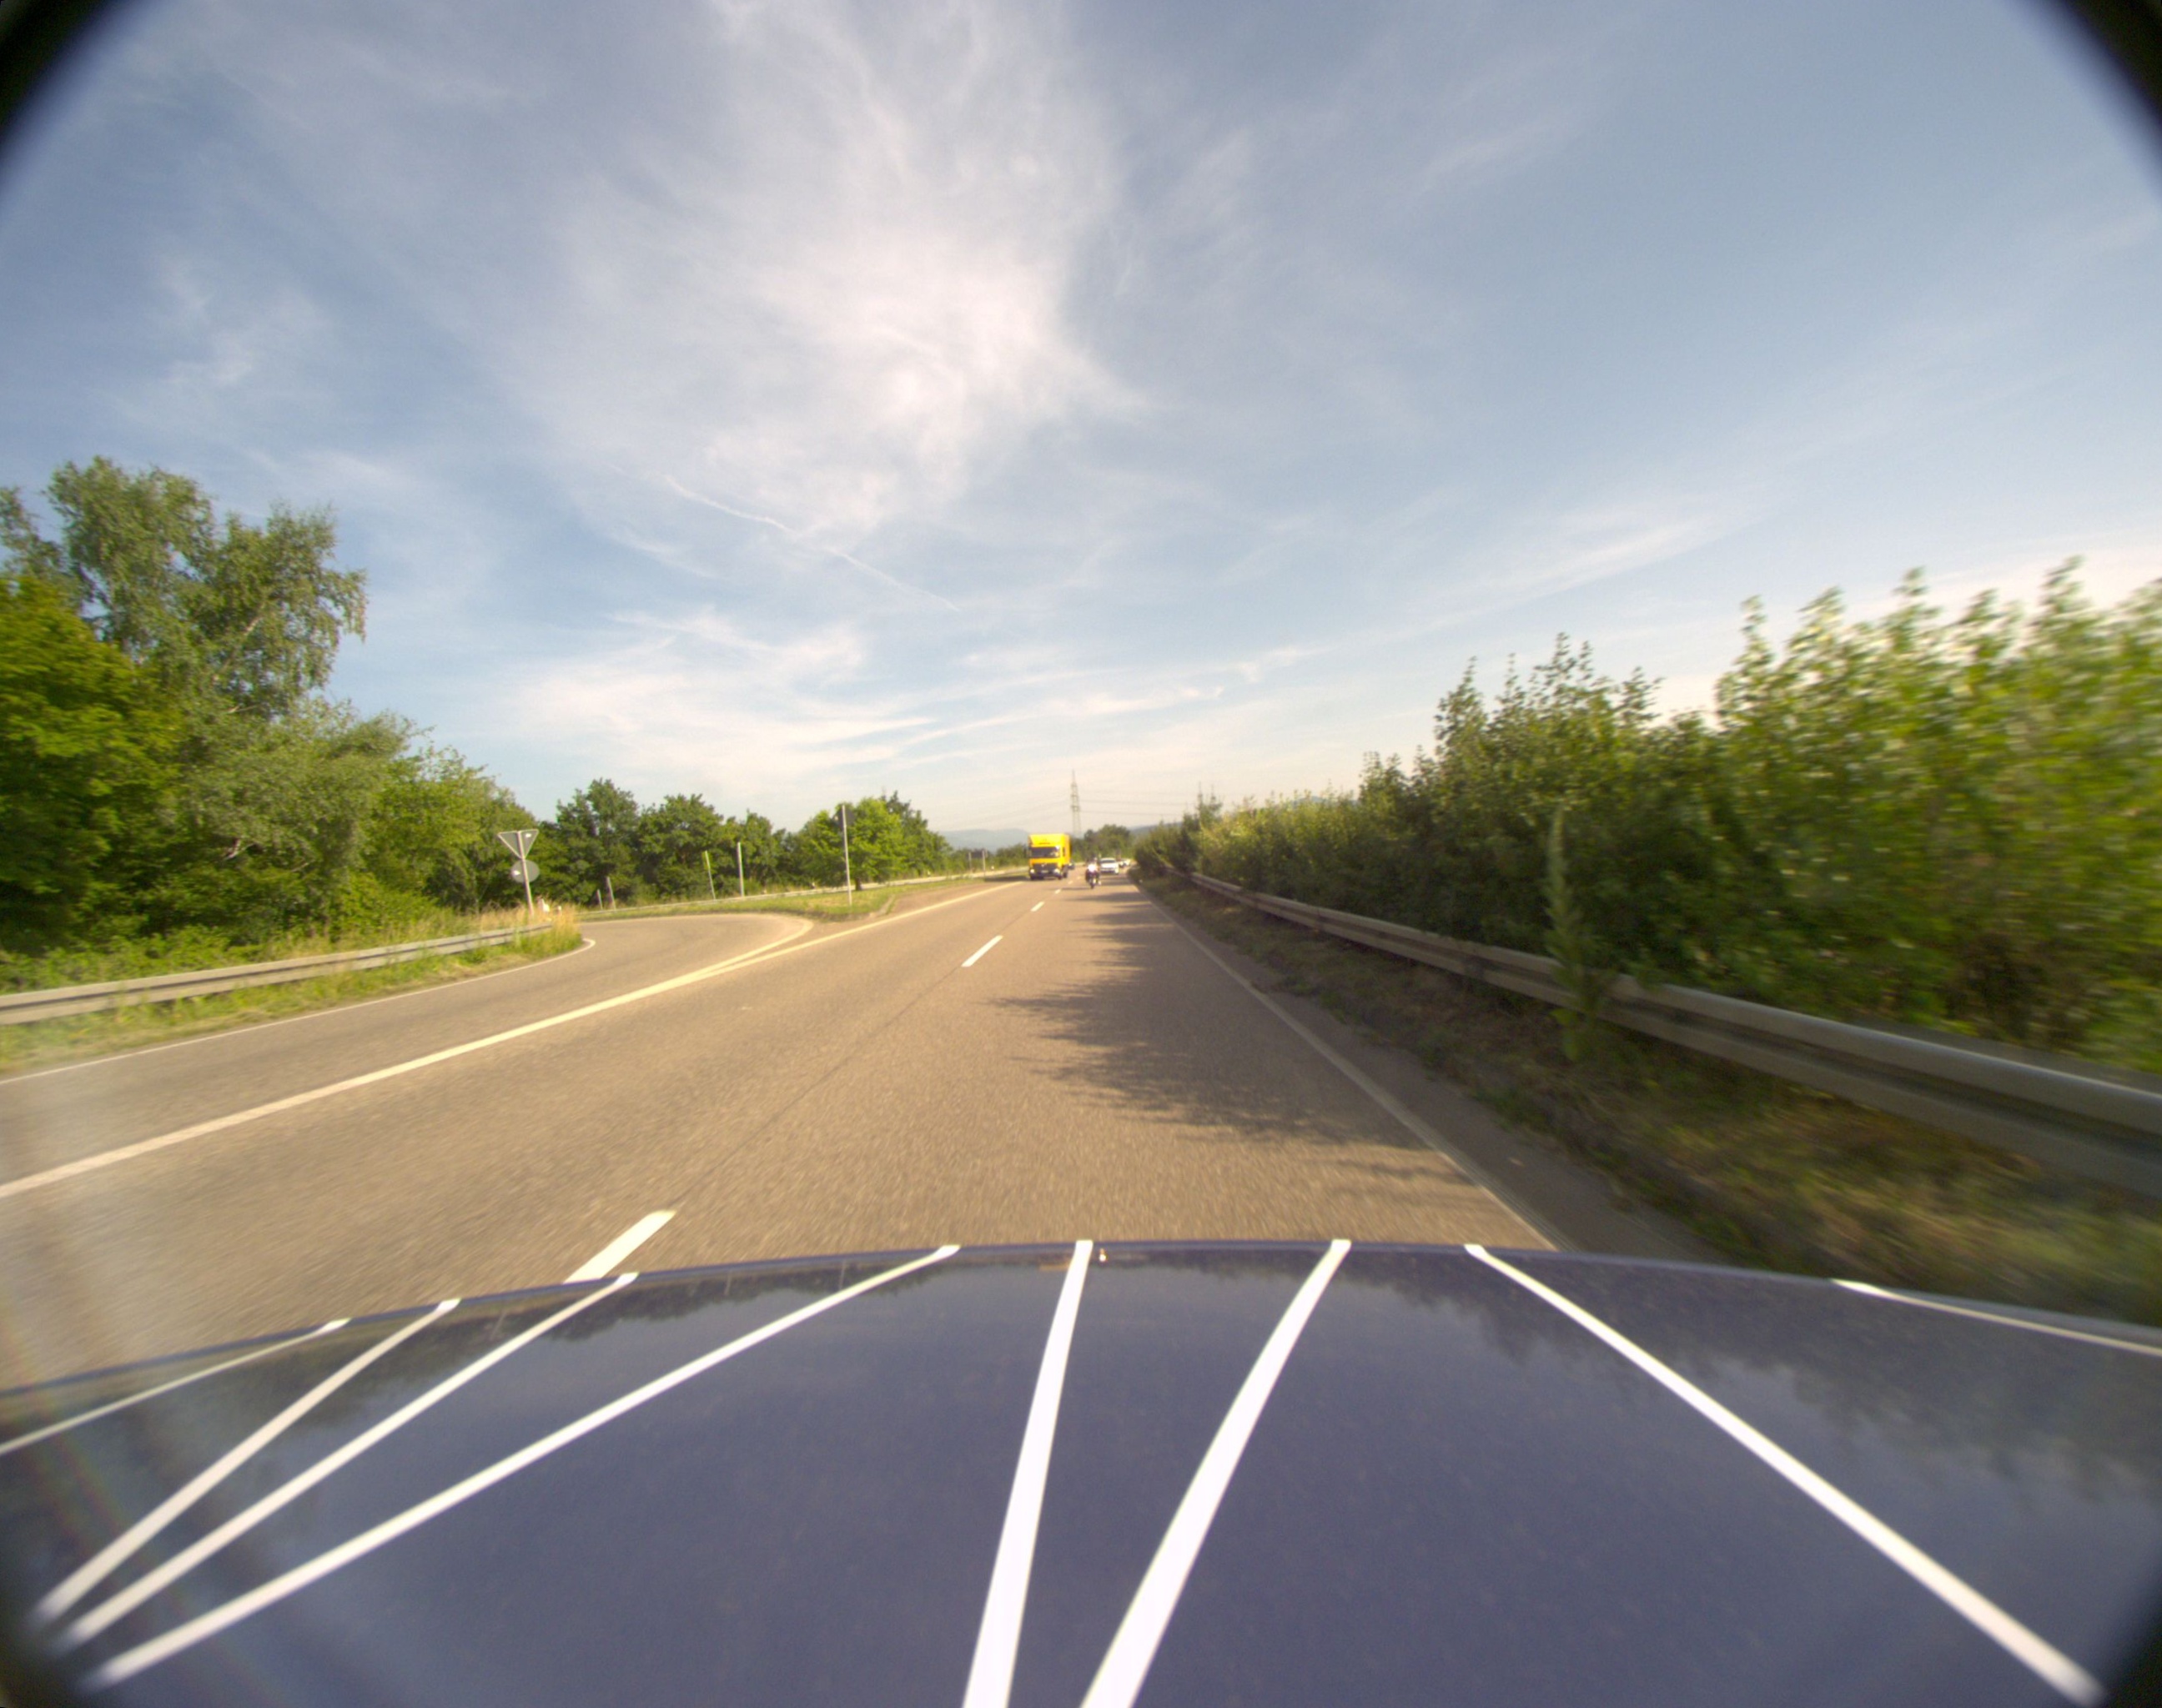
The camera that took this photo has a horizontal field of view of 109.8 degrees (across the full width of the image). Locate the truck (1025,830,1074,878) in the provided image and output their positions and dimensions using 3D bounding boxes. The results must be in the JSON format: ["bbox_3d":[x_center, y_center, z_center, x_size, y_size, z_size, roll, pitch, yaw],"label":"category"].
[{"bbox_3d":[-2.264,0.020,58.867,2.785,3.297,10.491,-2,0,3],"label":"truck"}]

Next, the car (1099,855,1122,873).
[{"bbox_3d":[2.668,0.883,67.746,1.868,1.454,4.085,-2,0,5],"label":"car"}]

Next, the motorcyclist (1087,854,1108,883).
[{"bbox_3d":[0.805,0.691,37.294,0.937,1.344,1.143,-2,1,4],"label":"motorcyclist"}]

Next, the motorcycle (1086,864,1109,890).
[{"bbox_3d":[0.819,1.104,37.305,0.937,1.131,2.583,-2,1,5],"label":"motorcycle"}]
